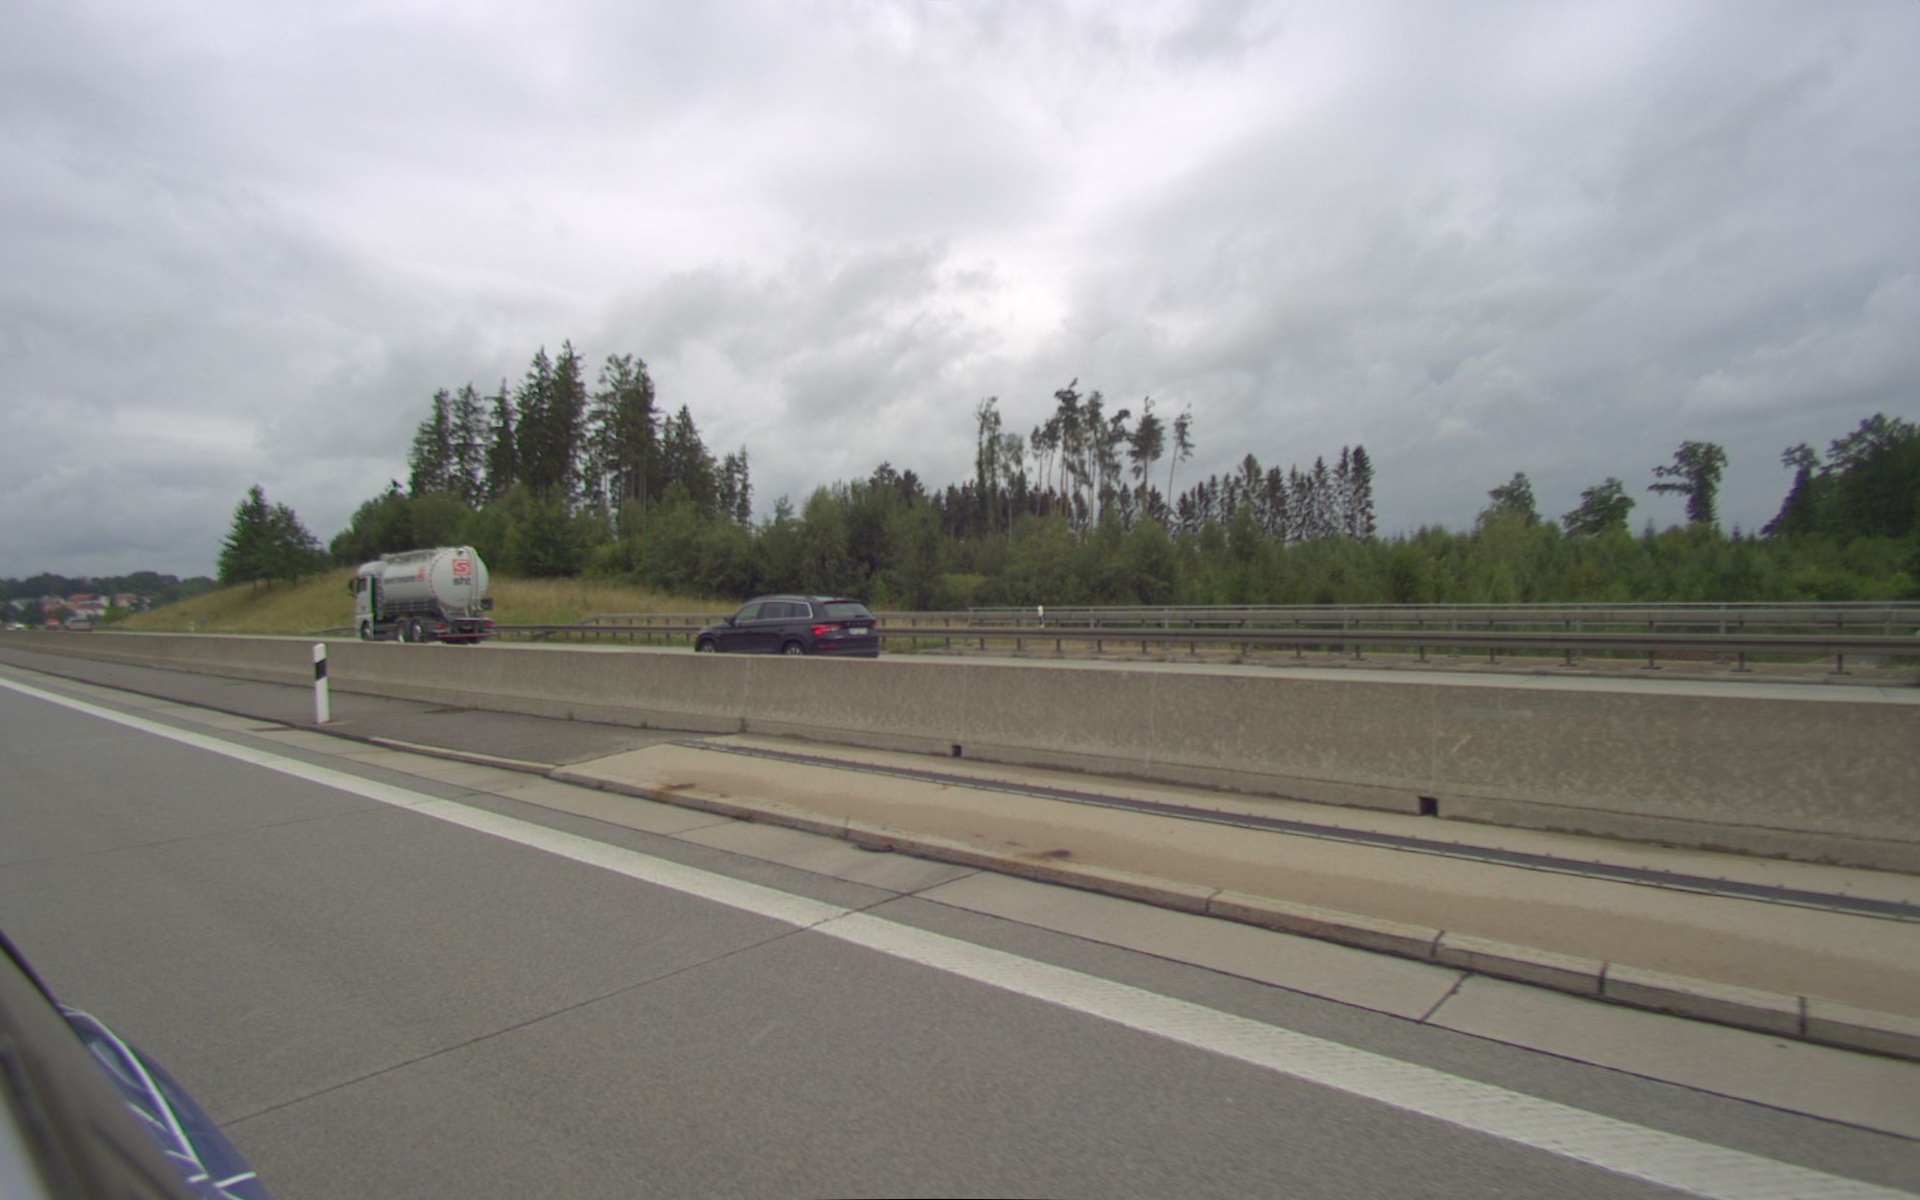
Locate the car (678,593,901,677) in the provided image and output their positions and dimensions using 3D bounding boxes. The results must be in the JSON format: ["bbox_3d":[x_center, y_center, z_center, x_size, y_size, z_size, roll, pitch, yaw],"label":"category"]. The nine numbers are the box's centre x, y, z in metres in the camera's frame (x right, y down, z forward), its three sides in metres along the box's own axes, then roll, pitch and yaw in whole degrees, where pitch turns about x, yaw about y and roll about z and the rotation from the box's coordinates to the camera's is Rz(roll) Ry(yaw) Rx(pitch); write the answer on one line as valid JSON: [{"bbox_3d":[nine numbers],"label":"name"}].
[{"bbox_3d":[-3.670,0.681,21.100,5.088,1.545,1.809,-1,0,42],"label":"car"}]

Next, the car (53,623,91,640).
[{"bbox_3d":[-73.904,2.634,84.213,4.359,1.297,1.924,-1,0,43],"label":"car"}]

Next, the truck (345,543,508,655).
[{"bbox_3d":[-21.986,-0.003,41.426,8.845,4.163,2.808,-1,0,40],"label":"truck"}]
